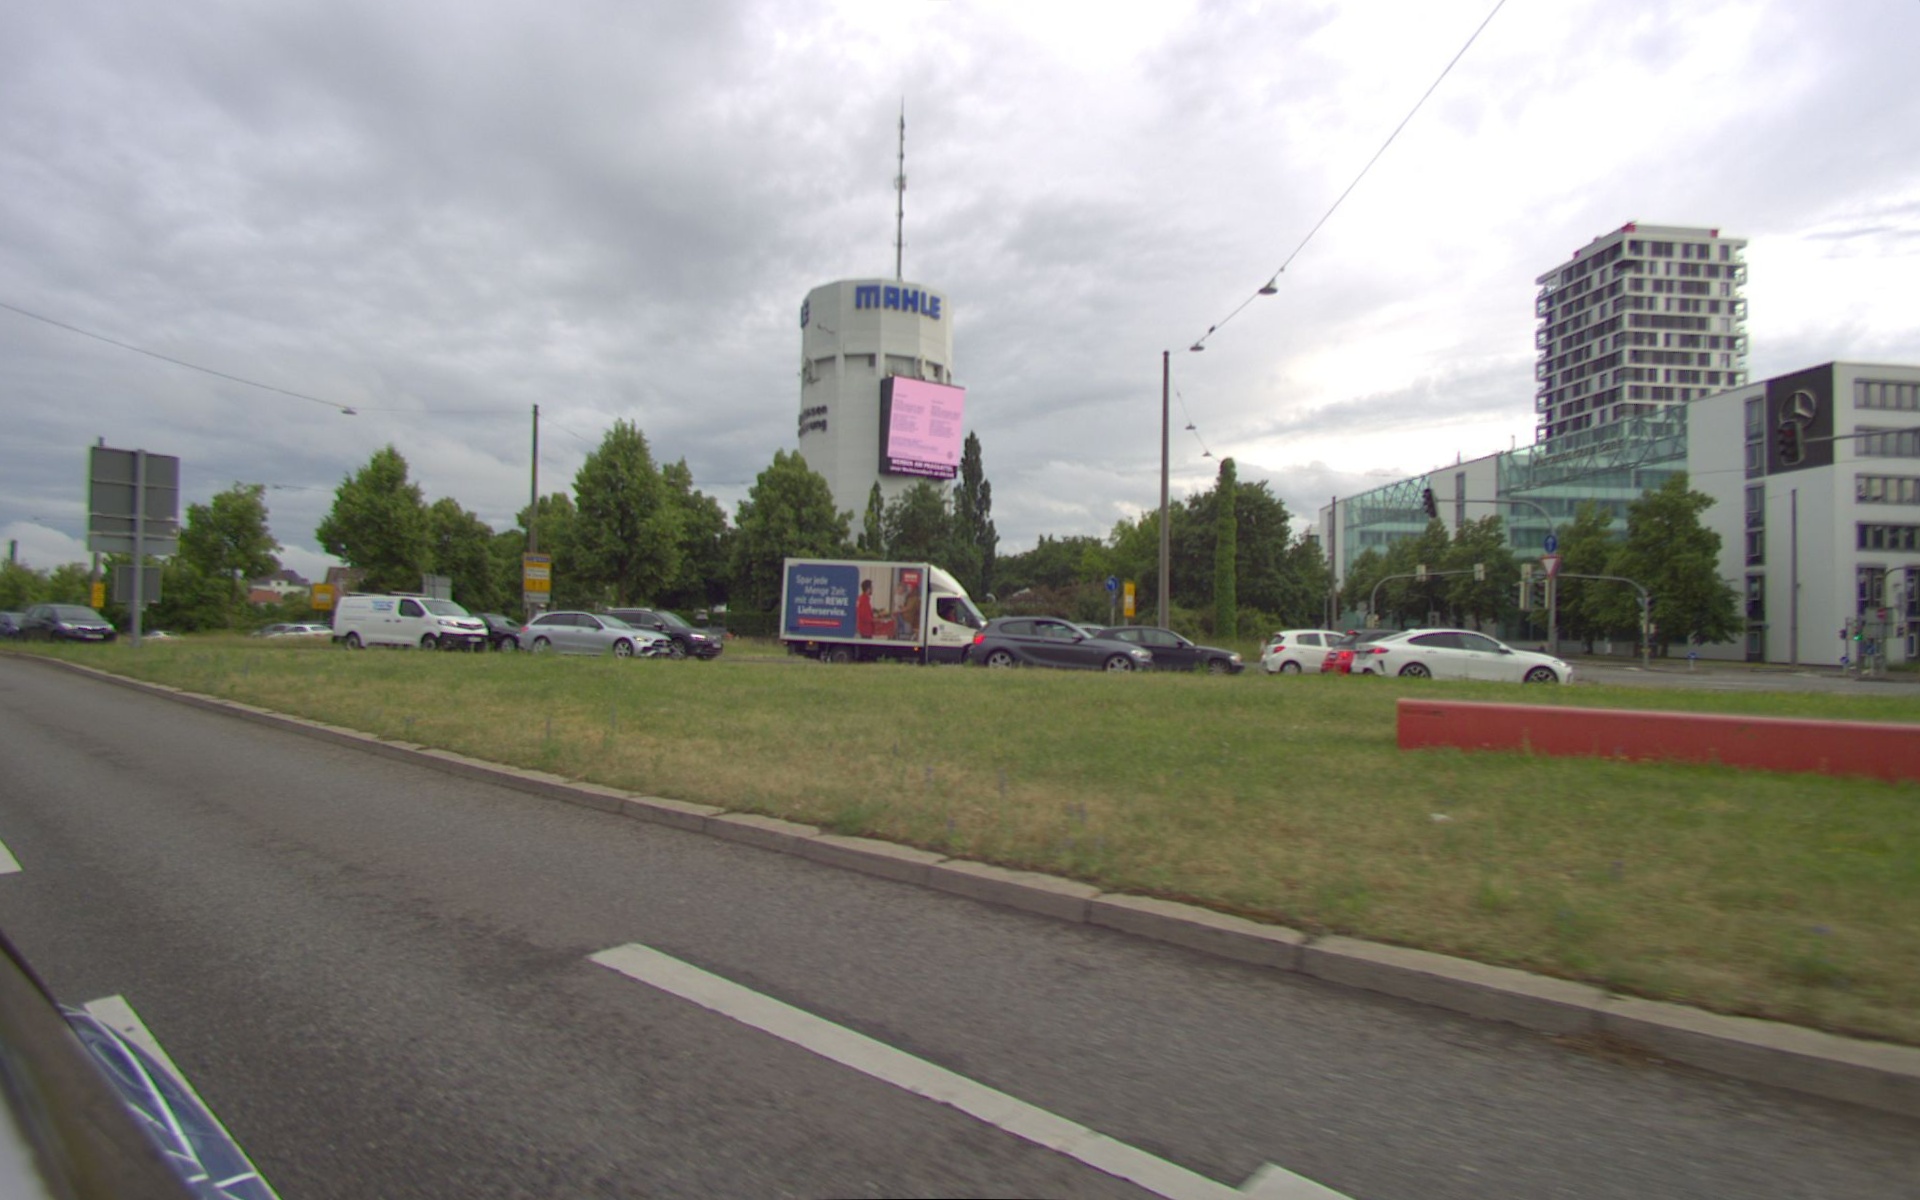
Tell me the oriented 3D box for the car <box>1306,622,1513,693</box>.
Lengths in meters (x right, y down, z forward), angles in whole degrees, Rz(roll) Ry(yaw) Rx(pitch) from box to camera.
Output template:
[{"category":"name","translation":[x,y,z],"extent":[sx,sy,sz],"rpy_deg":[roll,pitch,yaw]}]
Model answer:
[{"category":"car","translation":[11.616,1.465,26.392],"extent":[4.458,1.695,1.999],"rpy_deg":[-1,0,1]}]

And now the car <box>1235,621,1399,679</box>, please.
[{"category":"car","translation":[11.216,1.552,32.070],"extent":[4.459,1.695,1.999],"rpy_deg":[-1,0,2]}]

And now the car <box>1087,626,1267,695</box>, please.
[{"category":"car","translation":[5.607,1.568,26.661],"extent":[4.468,1.695,1.995],"rpy_deg":[-1,0,8]}]

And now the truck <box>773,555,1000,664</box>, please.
[{"category":"truck","translation":[-1.972,0.271,28.102],"extent":[5.963,2.856,2.125],"rpy_deg":[-1,0,9]}]

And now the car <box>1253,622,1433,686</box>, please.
[{"category":"car","translation":[11.105,1.554,29.582],"extent":[4.459,1.695,1.999],"rpy_deg":[-1,0,2]}]

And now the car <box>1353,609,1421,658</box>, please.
[{"category":"car","translation":[18.719,1.423,44.547],"extent":[1.979,2.029,3.986],"rpy_deg":[-1,0,11]}]

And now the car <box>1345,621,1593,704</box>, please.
[{"category":"car","translation":[11.224,1.356,22.606],"extent":[4.463,1.695,1.997],"rpy_deg":[-1,0,5]}]

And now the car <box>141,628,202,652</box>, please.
[{"category":"car","translation":[-63.161,3.217,81.069],"extent":[3.968,1.796,1.988],"rpy_deg":[-1,0,19]}]

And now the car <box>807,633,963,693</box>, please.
[{"category":"car","translation":[-2.285,1.925,31.427],"extent":[4.471,1.695,1.994],"rpy_deg":[-1,0,10]}]

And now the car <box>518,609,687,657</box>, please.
[{"category":"car","translation":[-10.686,0.967,30.301],"extent":[4.493,1.320,1.988],"rpy_deg":[-1,0,18]}]

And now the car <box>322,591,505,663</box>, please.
[{"category":"car","translation":[-17.658,0.848,32.751],"extent":[5.269,2.197,2.358],"rpy_deg":[-1,0,21]}]

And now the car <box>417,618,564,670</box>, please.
[{"category":"car","translation":[-16.253,1.498,35.077],"extent":[4.483,1.695,1.988],"rpy_deg":[-1,0,18]}]

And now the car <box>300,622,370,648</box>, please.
[{"category":"car","translation":[-42.936,2.421,69.562],"extent":[3.965,1.674,1.989],"rpy_deg":[-1,0,17]}]

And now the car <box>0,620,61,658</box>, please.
[{"category":"car","translation":[-45.490,1.858,48.403],"extent":[4.489,1.695,1.986],"rpy_deg":[-1,0,22]}]

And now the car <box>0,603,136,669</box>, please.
[{"category":"car","translation":[-31.945,1.250,35.845],"extent":[5.132,2.197,1.986],"rpy_deg":[-1,0,21]}]

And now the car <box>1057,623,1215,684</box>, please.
[{"category":"car","translation":[5.196,1.572,30.264],"extent":[4.468,1.695,1.995],"rpy_deg":[-1,0,8]}]

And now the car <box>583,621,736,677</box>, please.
[{"category":"car","translation":[-9.800,1.562,33.059],"extent":[4.483,1.695,1.988],"rpy_deg":[-1,0,18]}]

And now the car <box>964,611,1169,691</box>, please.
[{"category":"car","translation":[2.479,1.140,23.276],"extent":[4.472,1.695,1.993],"rpy_deg":[-1,0,11]}]

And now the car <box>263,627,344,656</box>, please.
[{"category":"car","translation":[-40.244,2.553,62.052],"extent":[3.960,1.674,1.992],"rpy_deg":[-1,0,13]}]

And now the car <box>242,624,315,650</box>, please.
[{"category":"car","translation":[-45.224,2.451,67.203],"extent":[3.965,1.674,1.989],"rpy_deg":[-1,0,17]}]
